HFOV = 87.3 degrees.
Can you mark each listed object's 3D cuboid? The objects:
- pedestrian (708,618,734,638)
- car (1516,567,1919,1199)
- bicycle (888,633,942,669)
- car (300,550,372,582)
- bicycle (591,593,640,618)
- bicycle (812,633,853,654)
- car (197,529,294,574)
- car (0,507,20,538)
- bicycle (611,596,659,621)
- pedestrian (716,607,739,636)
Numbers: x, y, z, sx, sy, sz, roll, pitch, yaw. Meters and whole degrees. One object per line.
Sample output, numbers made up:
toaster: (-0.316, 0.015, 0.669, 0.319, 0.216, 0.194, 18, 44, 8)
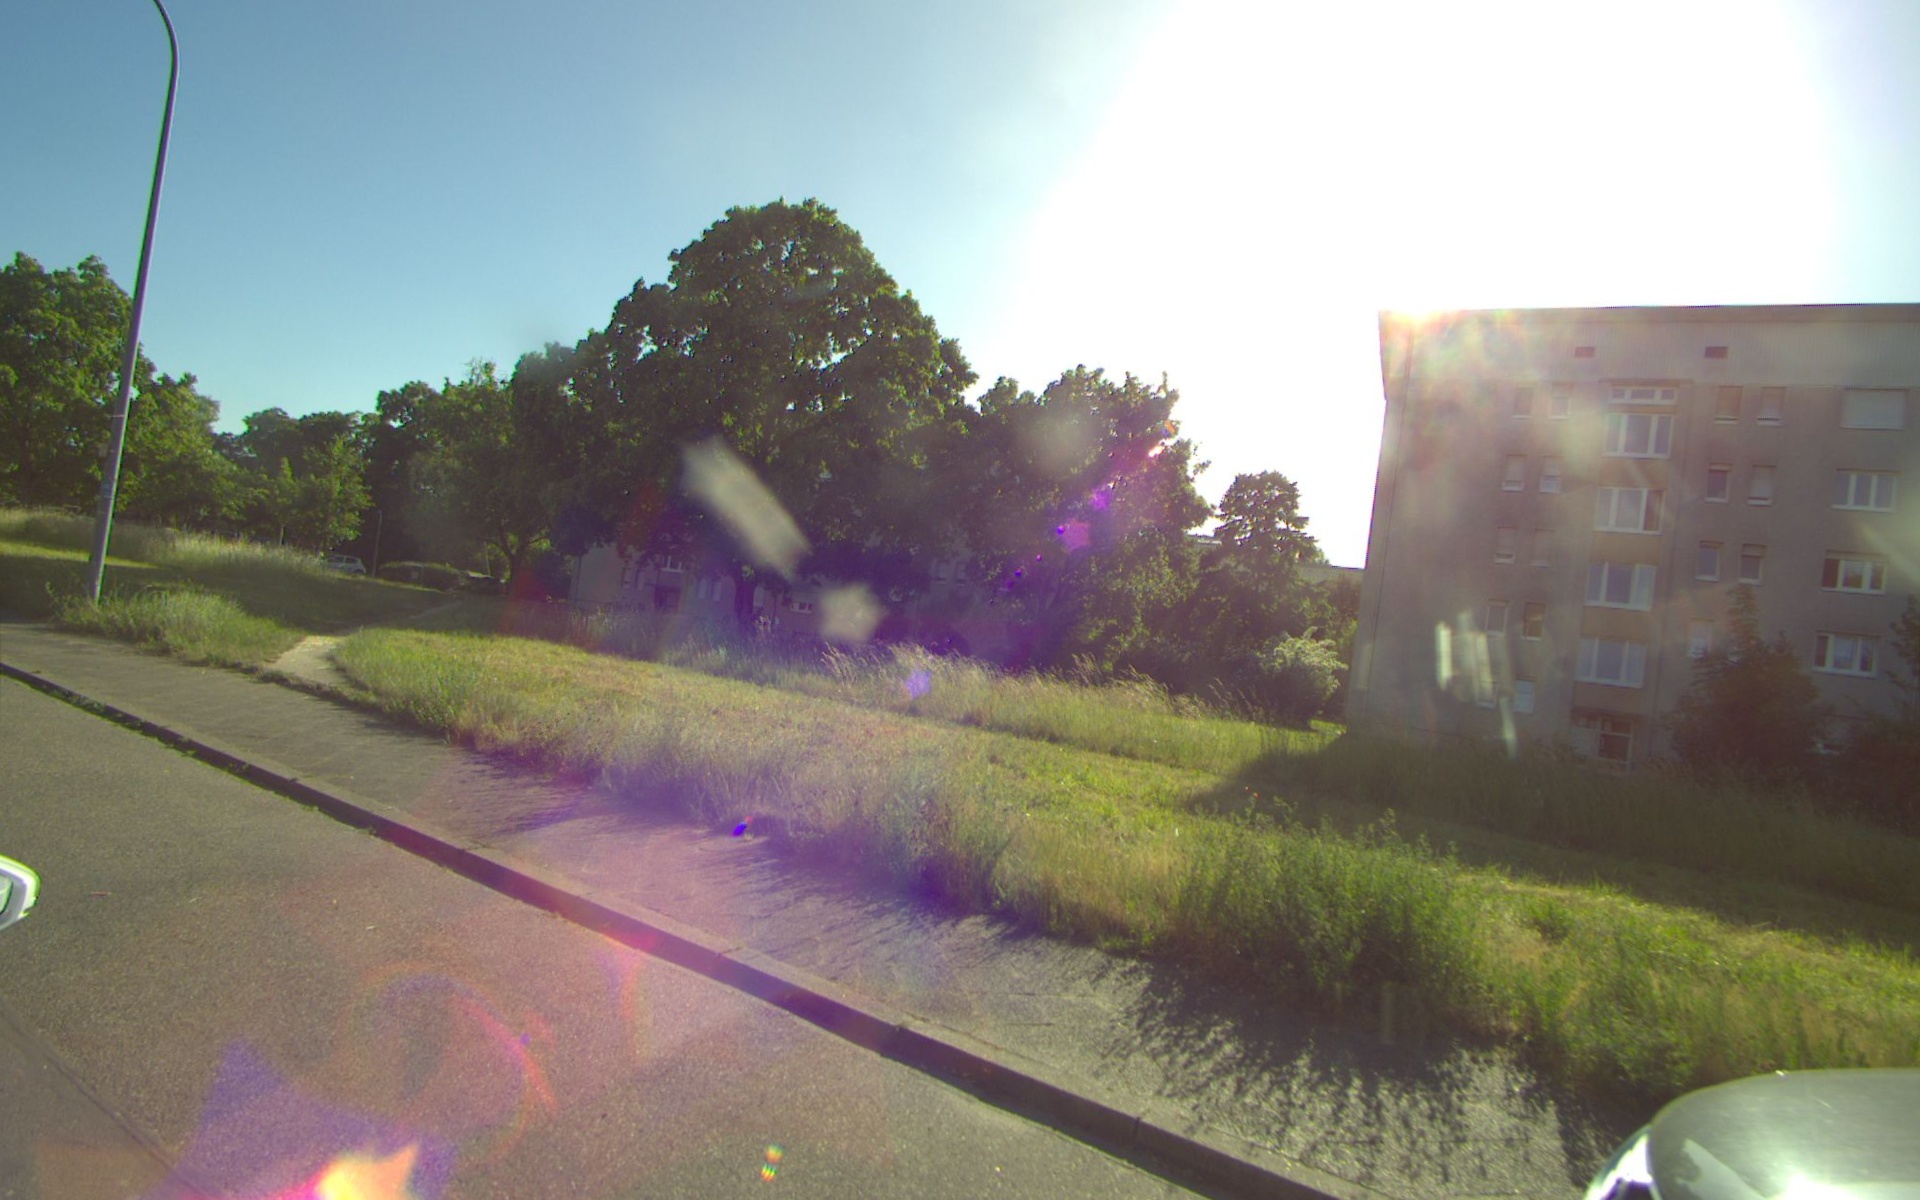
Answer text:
pedestrian: (-12.621, 1.474, 53.039, 0.986, 0.858, 0.745, 7, -2, 25)
car: (3.024, 1.134, 0.804, 4.392, 1.669, 1.845, 7, -3, 29)
bicycle: (-2.397, 2.695, 53.337, 2.707, 1.543, 0.782, 6, -1, 27)
car: (-45.225, -2.418, 72.925, 1.970, 1.629, 3.869, 7, -3, 38)
bicycle: (-21.760, 0.364, 63.509, 2.645, 1.218, 0.942, 8, -1, 9)
bicycle: (-7.087, 2.421, 55.939, 2.266, 0.821, 0.694, 7, -2, 33)
car: (-45.355, -3.061, 63.912, 2.244, 2.035, 4.498, 6, -3, 44)
car: (-53.661, -4.482, 54.552, 1.804, 1.595, 3.681, 6, -3, 43)
bicycle: (-20.712, 0.530, 64.208, 2.645, 1.218, 0.942, 8, -1, 9)
pedestrian: (-13.002, 1.217, 56.310, 0.754, 1.474, 0.757, 7, -1, 21)
